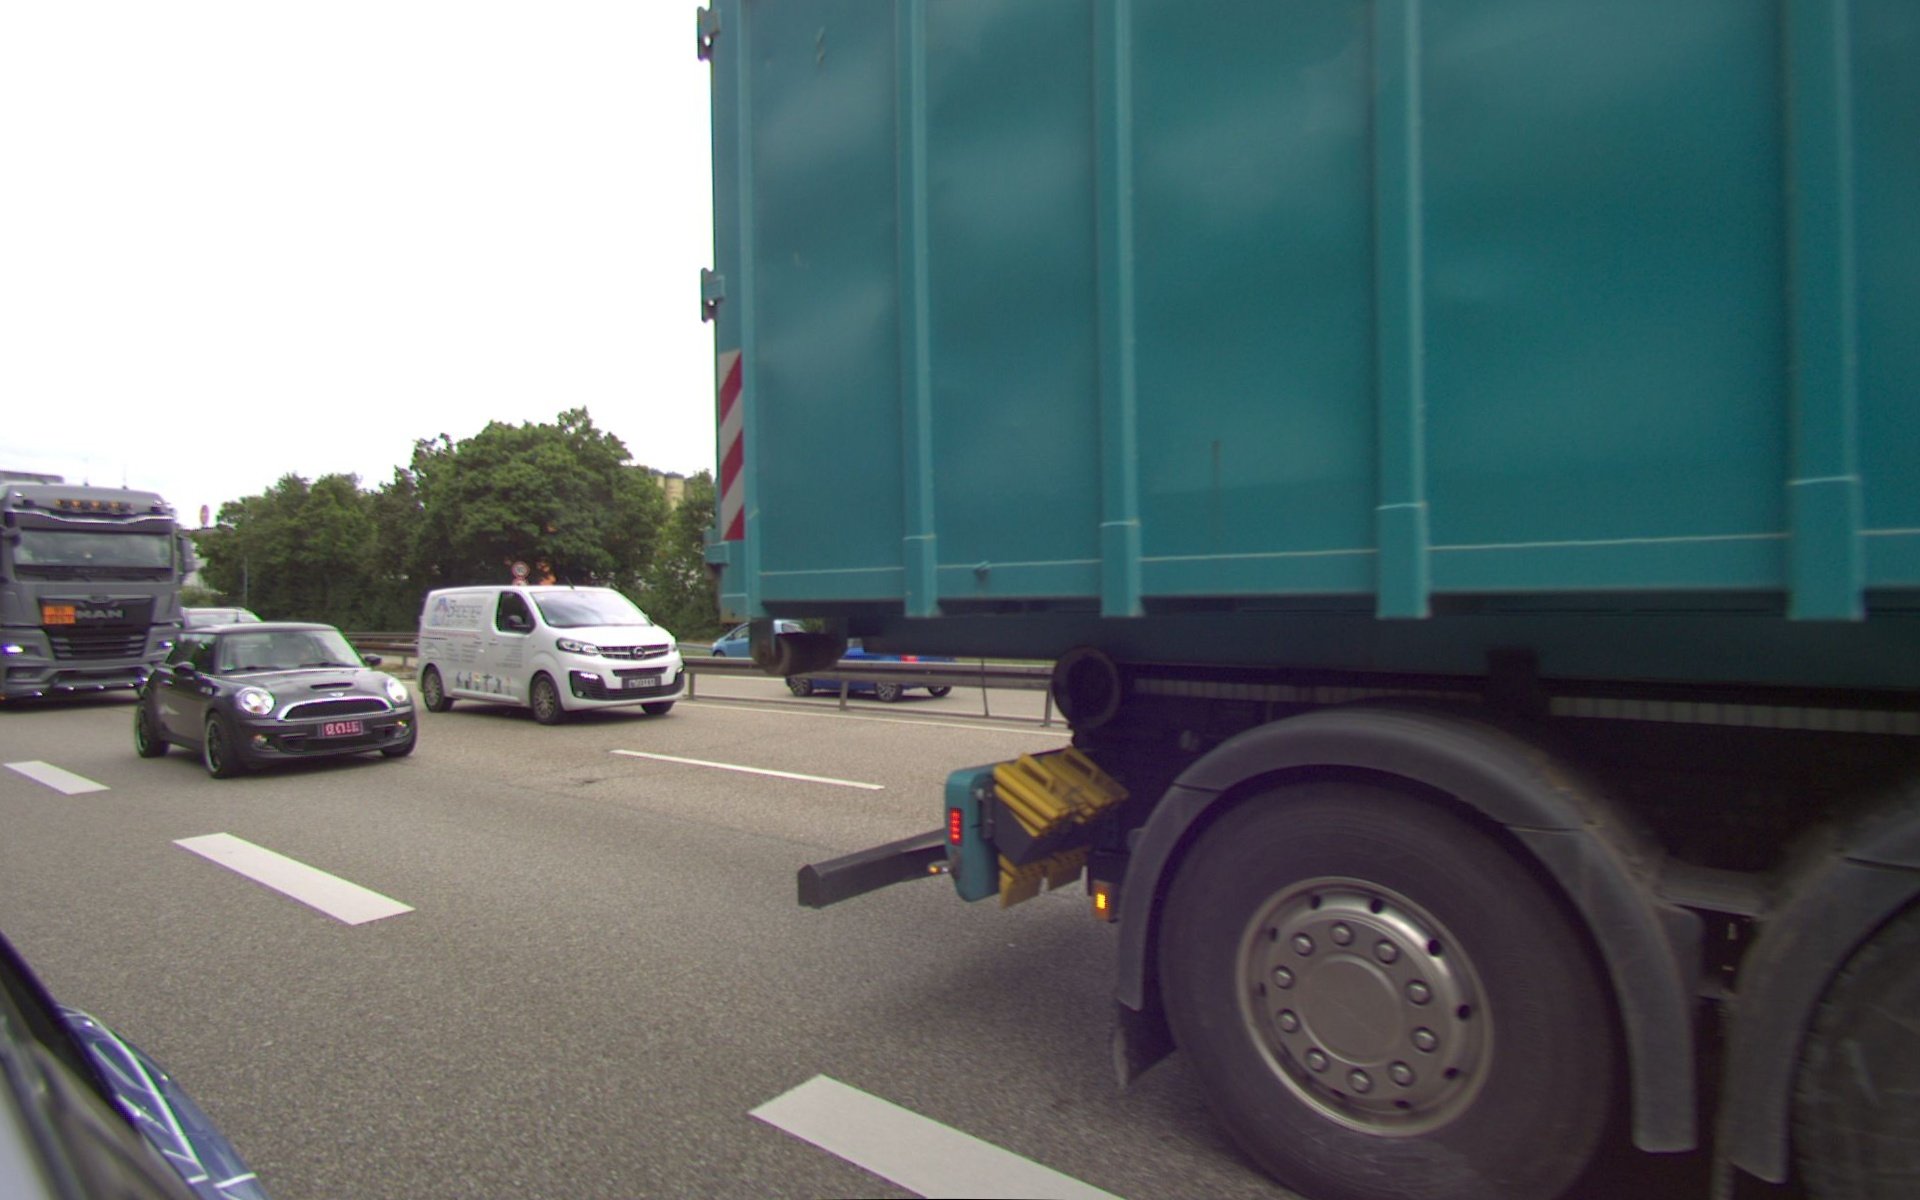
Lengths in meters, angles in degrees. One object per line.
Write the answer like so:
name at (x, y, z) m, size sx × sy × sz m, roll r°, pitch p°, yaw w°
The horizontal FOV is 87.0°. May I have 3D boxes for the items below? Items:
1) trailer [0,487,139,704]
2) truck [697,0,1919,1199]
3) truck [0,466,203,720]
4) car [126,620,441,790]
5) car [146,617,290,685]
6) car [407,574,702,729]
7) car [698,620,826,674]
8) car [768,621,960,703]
trailer at (-21.433, 0.028, 22.176) m, size 10.965 × 3.937 × 2.659 m, roll -1°, pitch -2°, yaw 36°
truck at (4.304, -0.583, 1.381) m, size 11.317 × 3.825 × 2.900 m, roll -1°, pitch -2°, yaw 39°
truck at (-16.939, -0.024, 18.802) m, size 6.921 × 3.937 × 2.659 m, roll -1°, pitch -2°, yaw 36°
car at (-7.099, 0.943, 10.504) m, size 3.660 × 1.432 × 1.730 m, roll -1°, pitch -1°, yaw 39°
car at (-18.148, 1.203, 24.677) m, size 4.461 × 1.509 × 1.660 m, roll -1°, pitch -2°, yaw 38°
car at (-6.001, 0.689, 14.687) m, size 4.871 × 1.906 × 1.833 m, roll -1°, pitch -2°, yaw 39°
car at (-5.871, 1.365, 29.934) m, size 3.693 × 1.513 × 1.579 m, roll -1°, pitch -2°, yaw 33°
car at (-2.015, 1.190, 20.528) m, size 3.921 × 1.513 × 1.576 m, roll -1°, pitch -2°, yaw 39°
